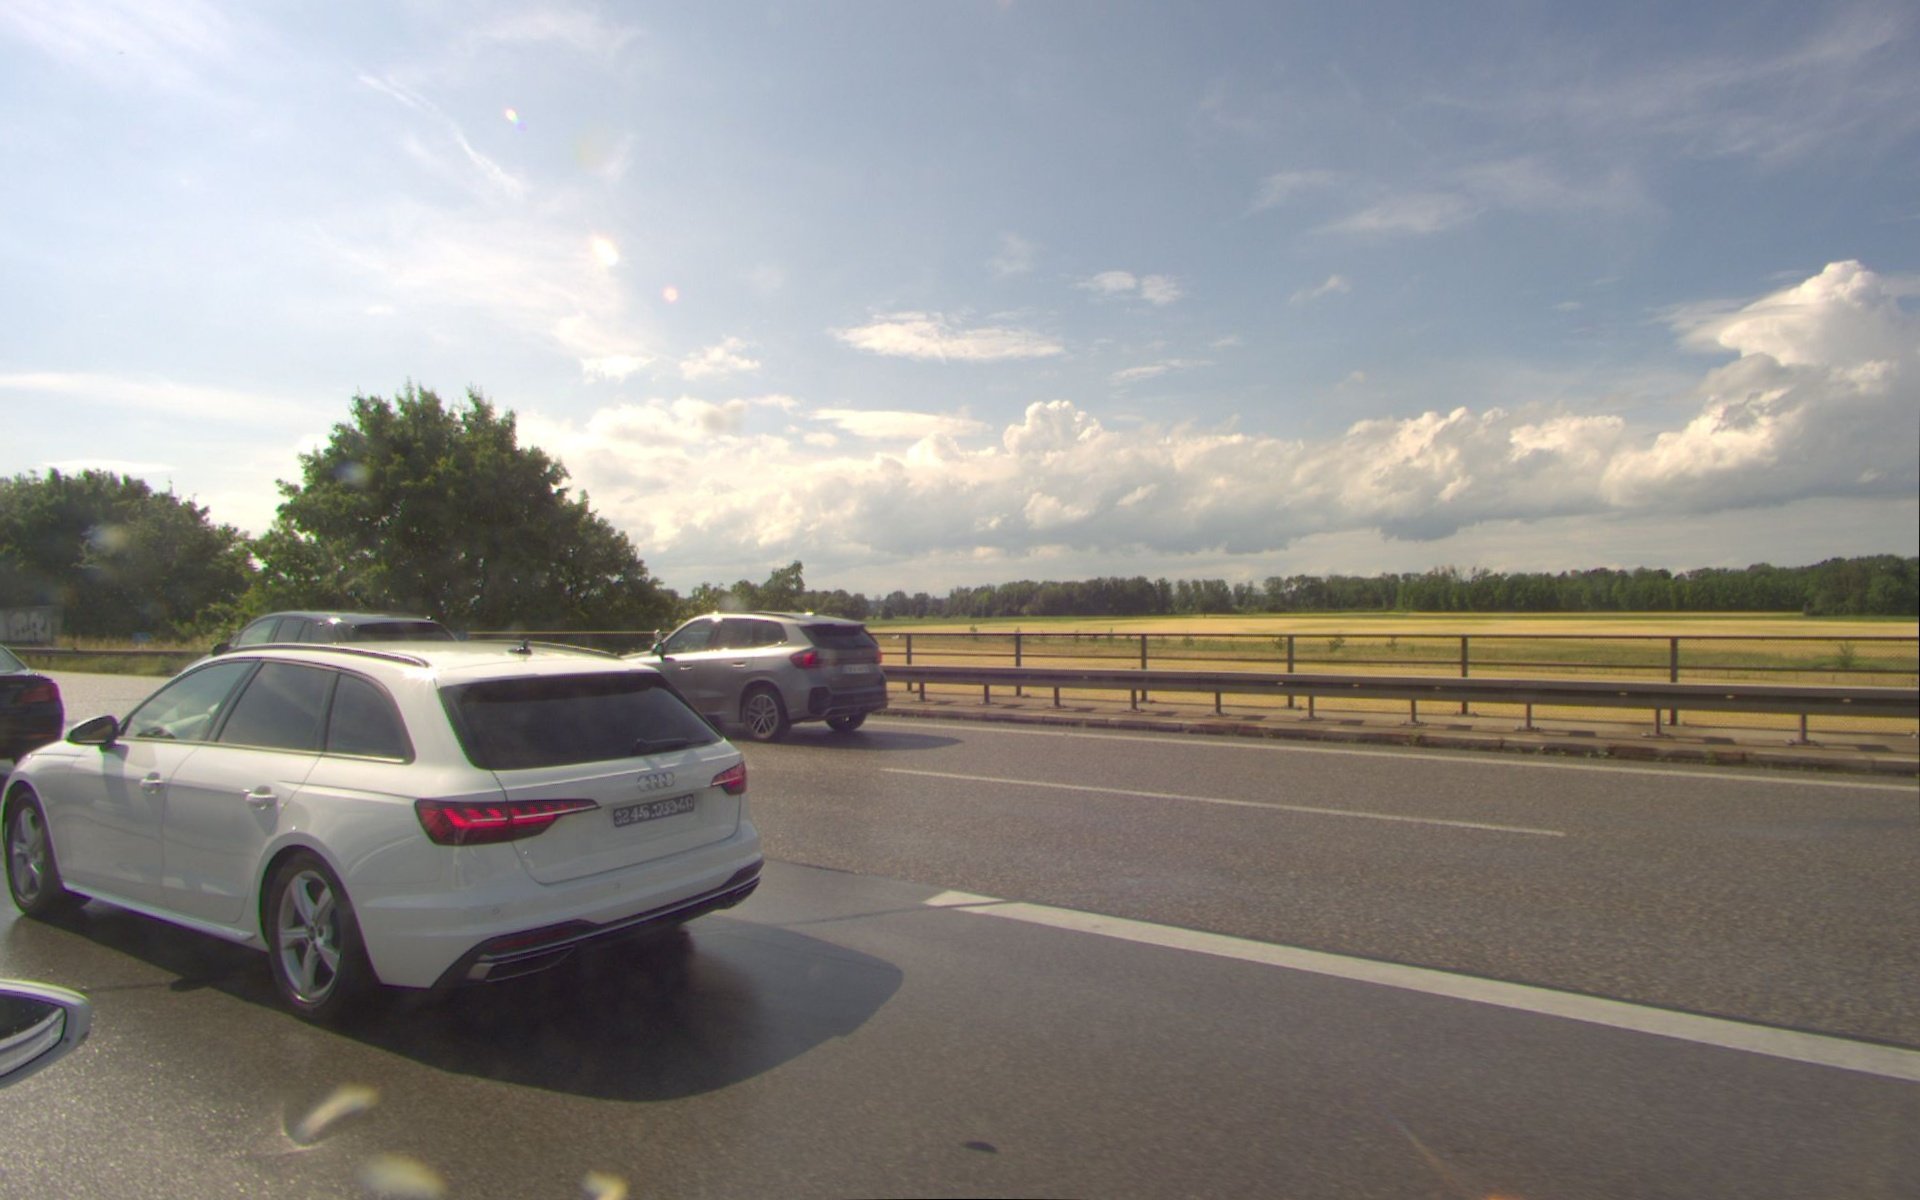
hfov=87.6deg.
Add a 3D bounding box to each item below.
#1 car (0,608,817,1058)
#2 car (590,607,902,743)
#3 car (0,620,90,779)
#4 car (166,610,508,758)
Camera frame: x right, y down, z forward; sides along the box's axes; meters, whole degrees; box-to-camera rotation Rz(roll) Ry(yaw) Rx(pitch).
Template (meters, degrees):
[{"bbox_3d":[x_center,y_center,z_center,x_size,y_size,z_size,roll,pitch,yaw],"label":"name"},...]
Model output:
[{"bbox_3d":[-3.057,0.879,5.150,4.445,1.443,1.825,-3,-4,30],"label":"car"},{"bbox_3d":[-3.000,0.945,13.715,4.227,1.606,1.745,-1,-2,34],"label":"car"},{"bbox_3d":[-10.910,0.974,10.291,4.195,1.483,1.845,-1,0,32],"label":"car"},{"bbox_3d":[-8.120,0.954,12.942,4.587,1.602,1.990,-1,-1,32],"label":"car"}]
